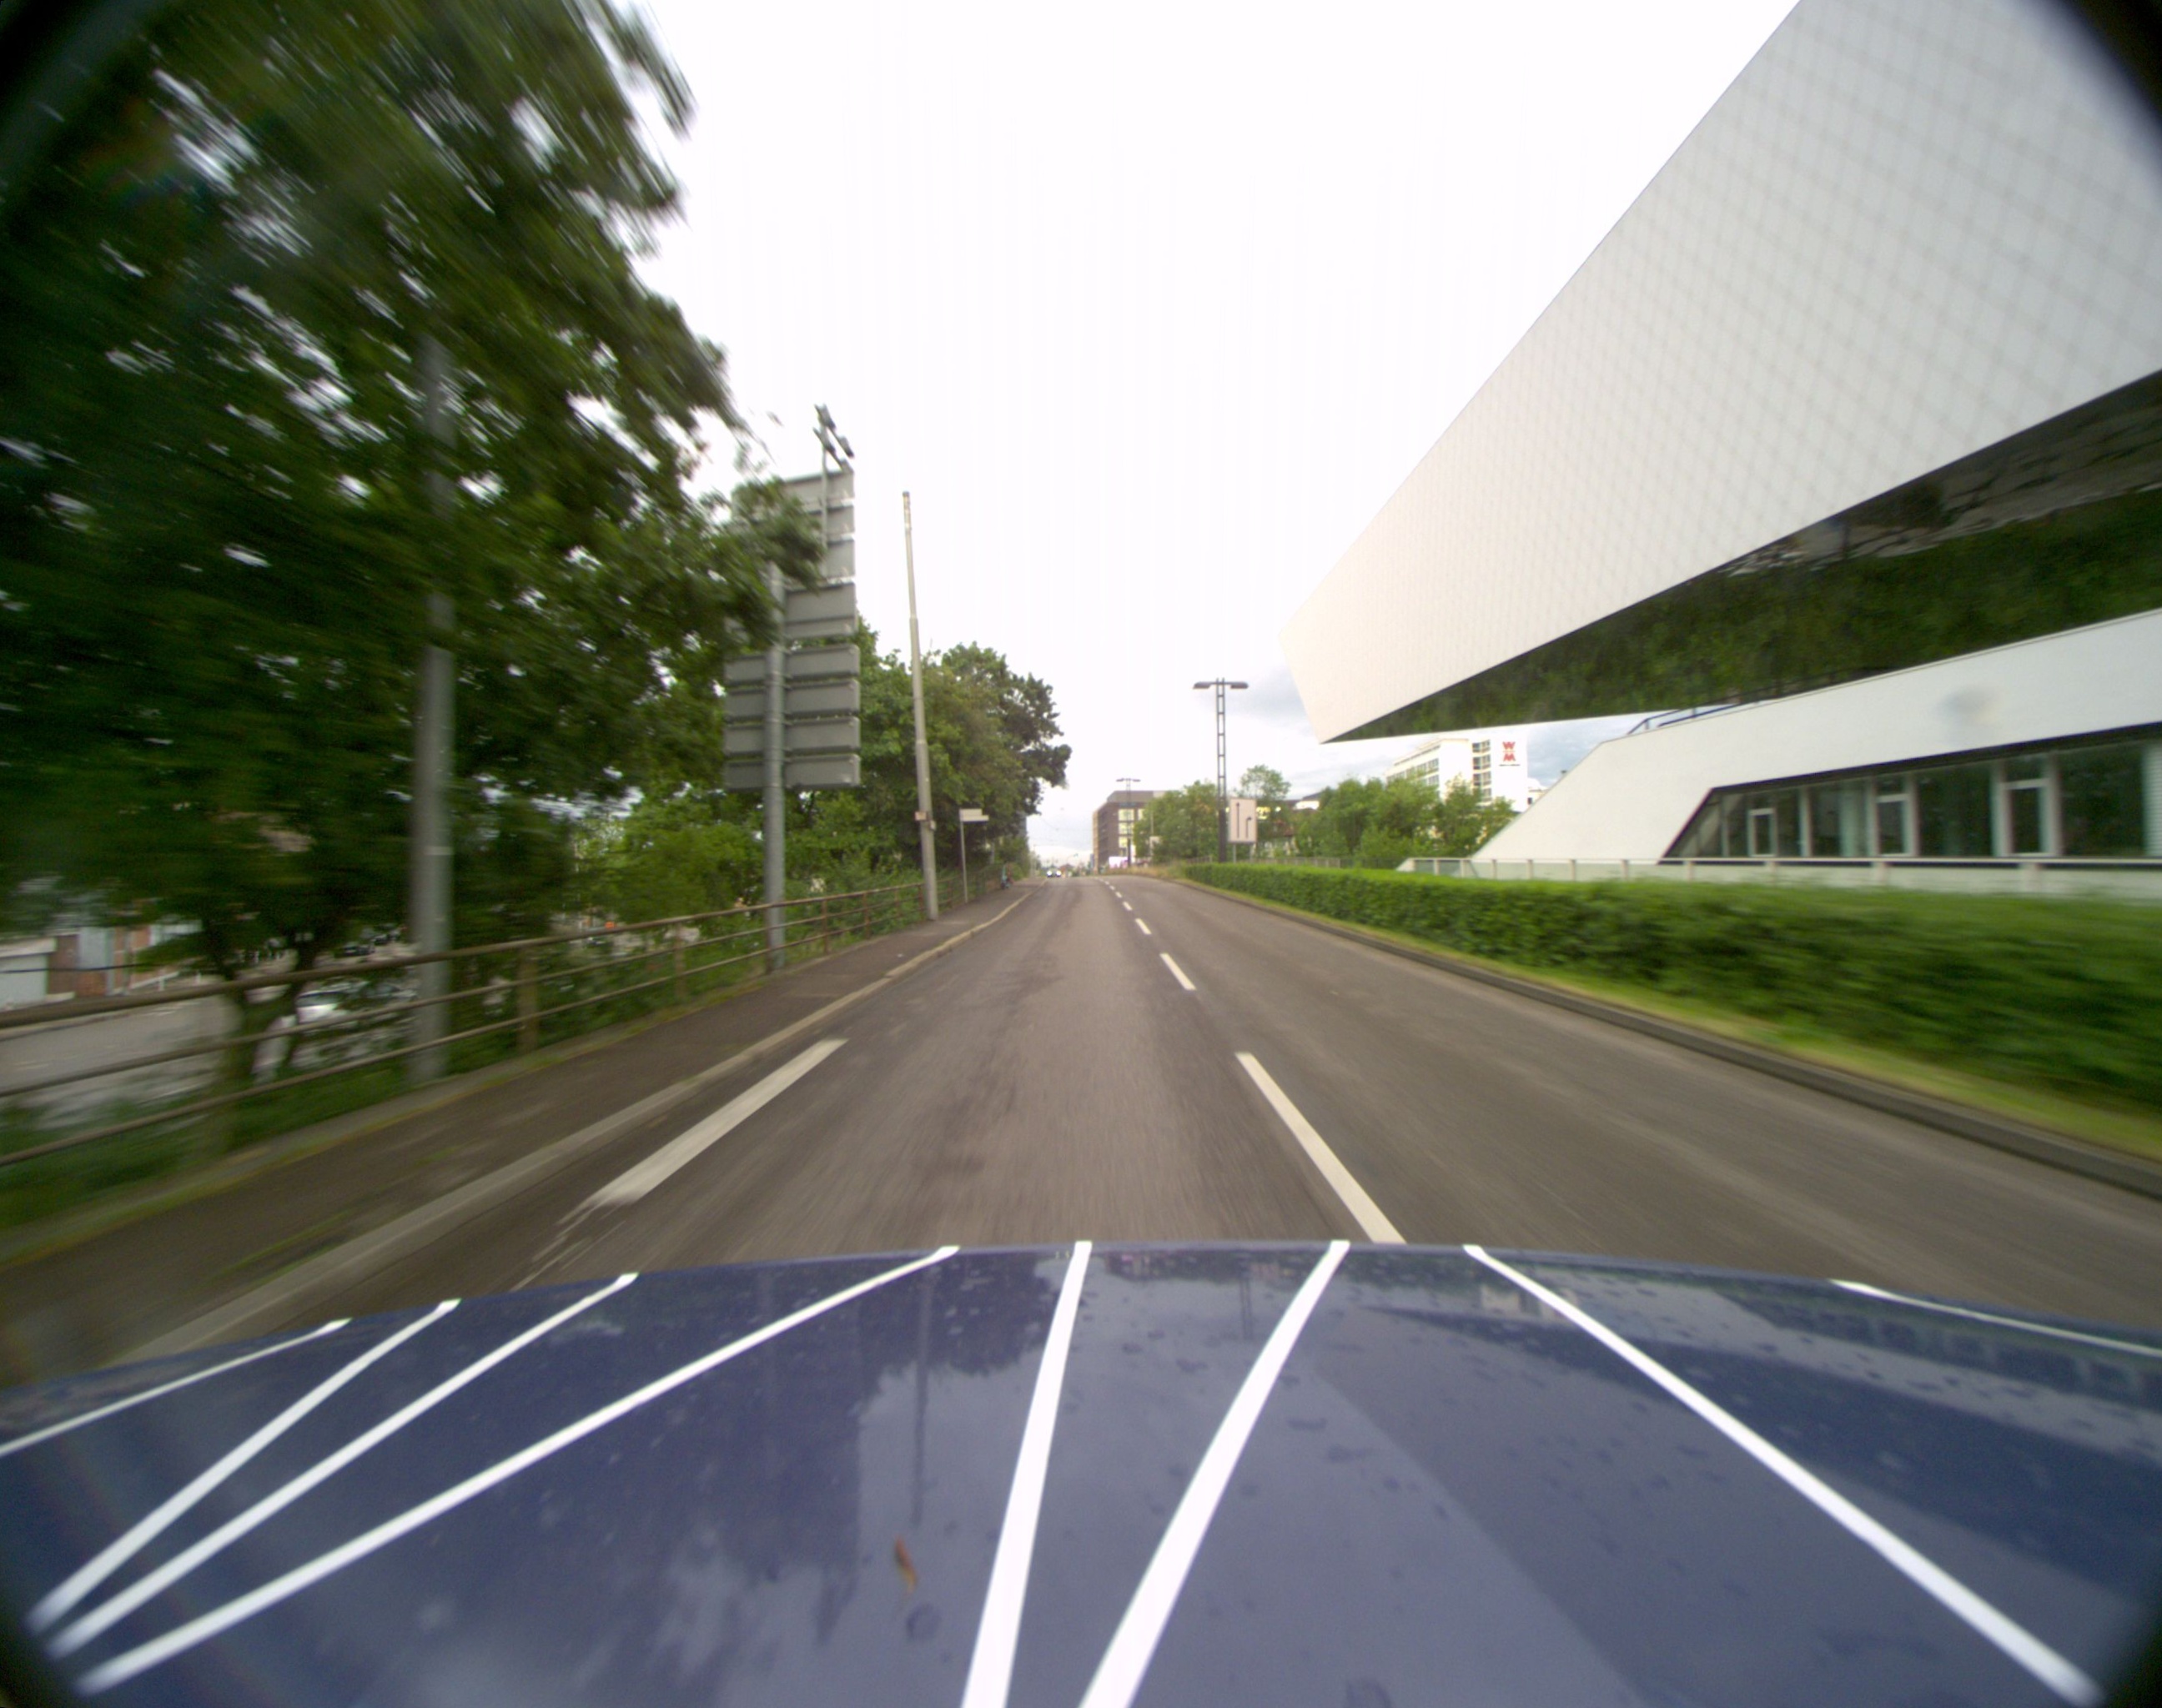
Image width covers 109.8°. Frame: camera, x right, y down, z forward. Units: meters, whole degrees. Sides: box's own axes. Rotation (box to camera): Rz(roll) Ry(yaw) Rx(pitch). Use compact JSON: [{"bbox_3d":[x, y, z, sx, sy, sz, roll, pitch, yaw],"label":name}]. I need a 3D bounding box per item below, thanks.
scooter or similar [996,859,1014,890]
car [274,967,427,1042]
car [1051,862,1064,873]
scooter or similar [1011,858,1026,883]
[{"bbox_3d":[-3.115,0.836,31.334,0.539,1.225,1.844,-1,1,0],"label":"scooter or similar"},{"bbox_3d":[-23.145,4.694,24.333,1.749,1.415,4.444,-3,0,-19],"label":"car"},{"bbox_3d":[-3.692,2.080,119.886,1.841,1.574,4.288,-1,0,-1],"label":"car"},{"bbox_3d":[-3.084,0.802,37.489,0.574,1.201,1.467,-1,1,0],"label":"scooter or similar"}]
